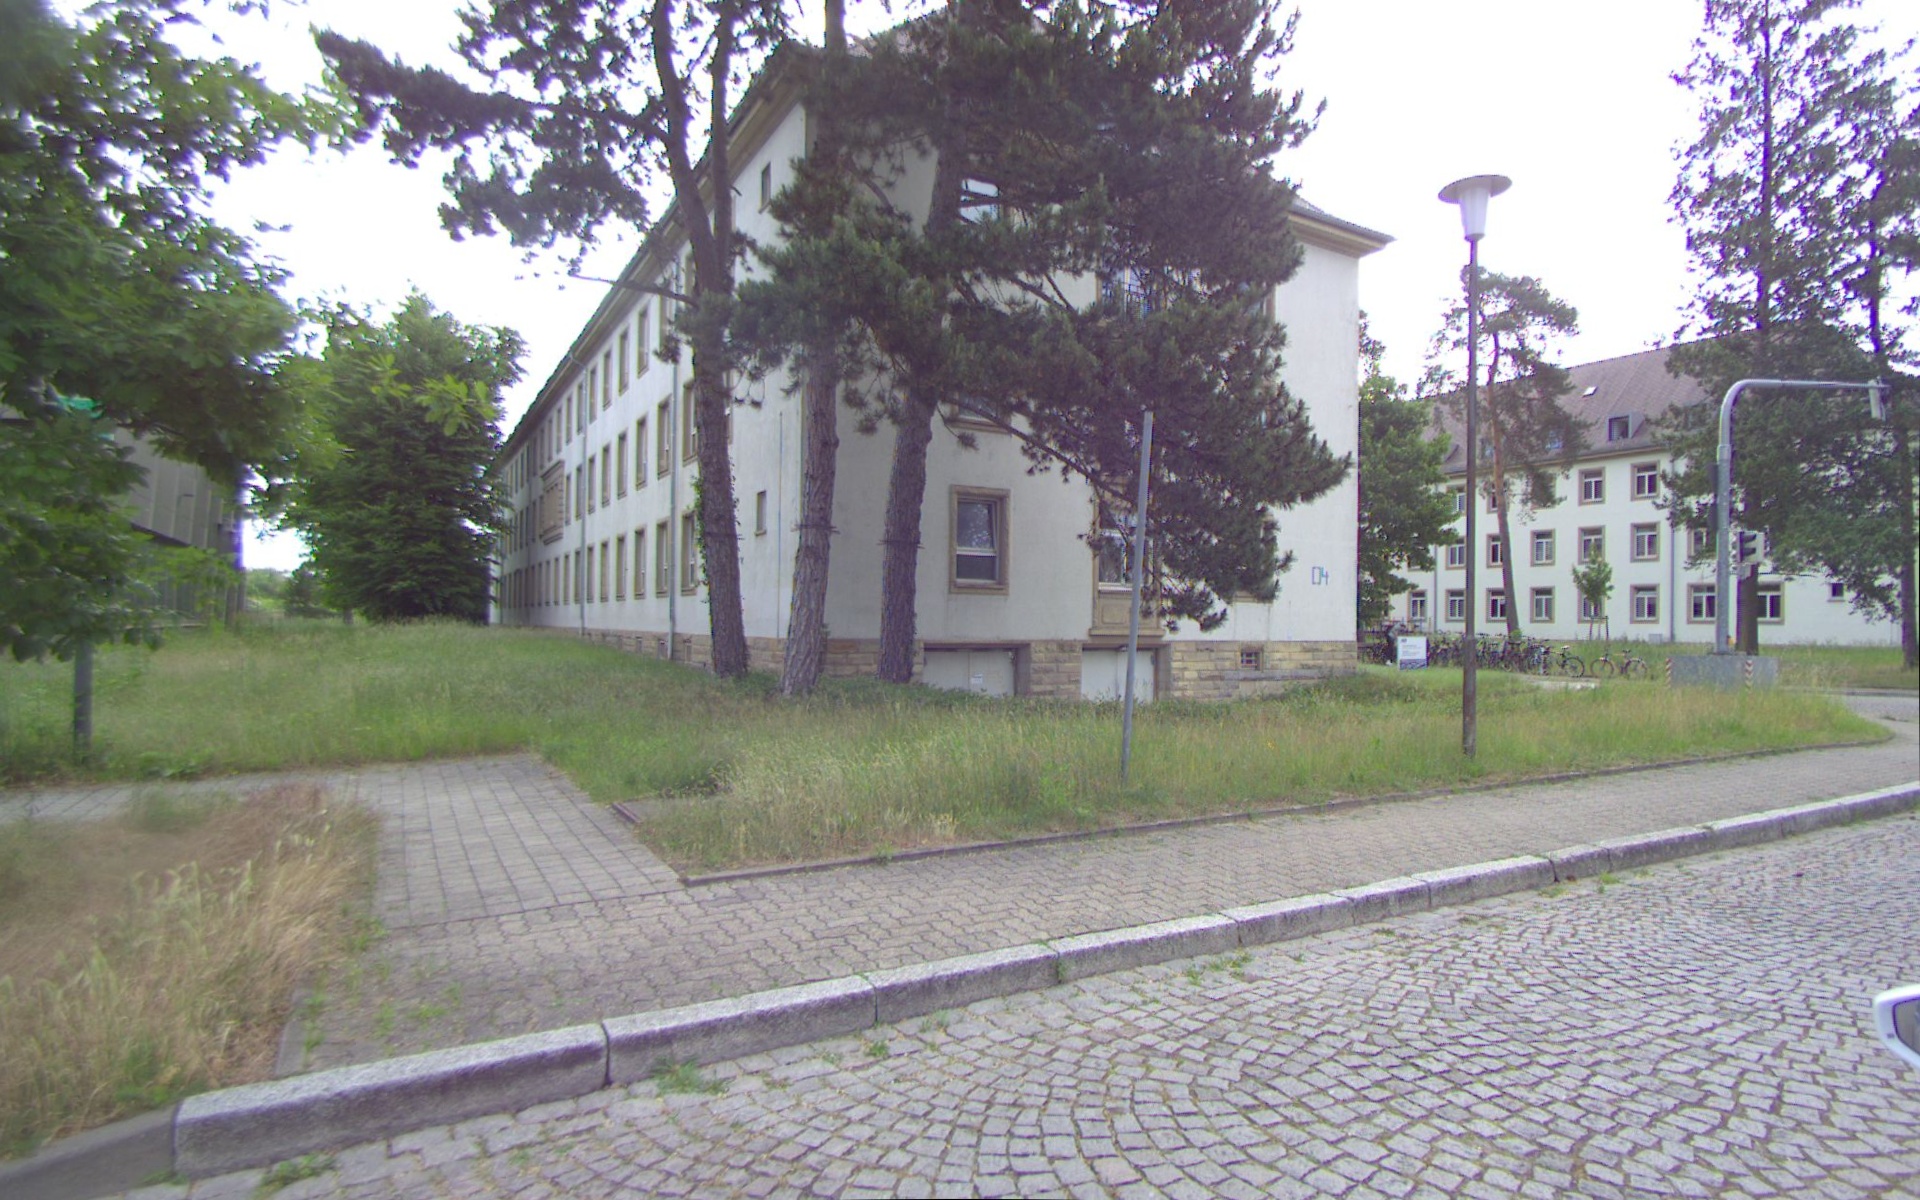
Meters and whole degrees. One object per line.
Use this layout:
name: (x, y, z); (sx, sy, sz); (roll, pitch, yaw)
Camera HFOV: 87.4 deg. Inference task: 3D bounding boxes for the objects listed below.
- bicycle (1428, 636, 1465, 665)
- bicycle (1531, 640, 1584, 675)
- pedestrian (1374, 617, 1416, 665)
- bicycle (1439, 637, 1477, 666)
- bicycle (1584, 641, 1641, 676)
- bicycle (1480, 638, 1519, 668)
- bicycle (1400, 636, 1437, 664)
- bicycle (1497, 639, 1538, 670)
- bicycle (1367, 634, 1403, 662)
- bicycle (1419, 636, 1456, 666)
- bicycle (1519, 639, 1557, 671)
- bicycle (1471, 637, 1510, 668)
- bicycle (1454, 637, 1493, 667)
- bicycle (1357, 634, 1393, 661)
bicycle: (18.501, 1.924, 38.188); (1.567, 1.093, 0.512); (1, -2, -31)
bicycle: (19.802, 1.890, 33.299); (0.510, 1.093, 1.457); (1, -2, -32)
pedestrian: (17.062, 1.591, 39.395); (1.135, 1.812, 1.064); (-1, 0, -2)
bicycle: (18.731, 1.927, 37.801); (1.567, 1.093, 0.512); (1, -2, -31)
bicycle: (20.756, 1.841, 31.968); (0.510, 1.079, 1.457); (1, -2, -32)
bicycle: (19.586, 1.918, 36.435); (1.567, 1.093, 0.512); (1, -2, -31)
bicycle: (17.908, 1.955, 39.208); (1.567, 1.093, 0.512); (1, -2, -31)
bicycle: (19.857, 1.925, 35.778); (1.565, 1.093, 0.512); (1, -2, -28)
bicycle: (17.178, 1.941, 40.549); (1.567, 1.093, 0.512); (1, -2, -31)
bicycle: (18.303, 1.948, 38.518); (1.567, 1.093, 0.512); (1, -2, -31)
bicycle: (20.268, 1.936, 35.236); (1.569, 1.093, 0.511); (2, -2, -34)
bicycle: (19.411, 1.913, 36.750); (1.567, 1.093, 0.512); (1, -2, -31)
bicycle: (19.058, 1.914, 37.272); (1.567, 1.093, 0.512); (1, -2, -31)
bicycle: (16.920, 1.934, 40.978); (1.567, 1.093, 0.512); (1, -2, -31)
